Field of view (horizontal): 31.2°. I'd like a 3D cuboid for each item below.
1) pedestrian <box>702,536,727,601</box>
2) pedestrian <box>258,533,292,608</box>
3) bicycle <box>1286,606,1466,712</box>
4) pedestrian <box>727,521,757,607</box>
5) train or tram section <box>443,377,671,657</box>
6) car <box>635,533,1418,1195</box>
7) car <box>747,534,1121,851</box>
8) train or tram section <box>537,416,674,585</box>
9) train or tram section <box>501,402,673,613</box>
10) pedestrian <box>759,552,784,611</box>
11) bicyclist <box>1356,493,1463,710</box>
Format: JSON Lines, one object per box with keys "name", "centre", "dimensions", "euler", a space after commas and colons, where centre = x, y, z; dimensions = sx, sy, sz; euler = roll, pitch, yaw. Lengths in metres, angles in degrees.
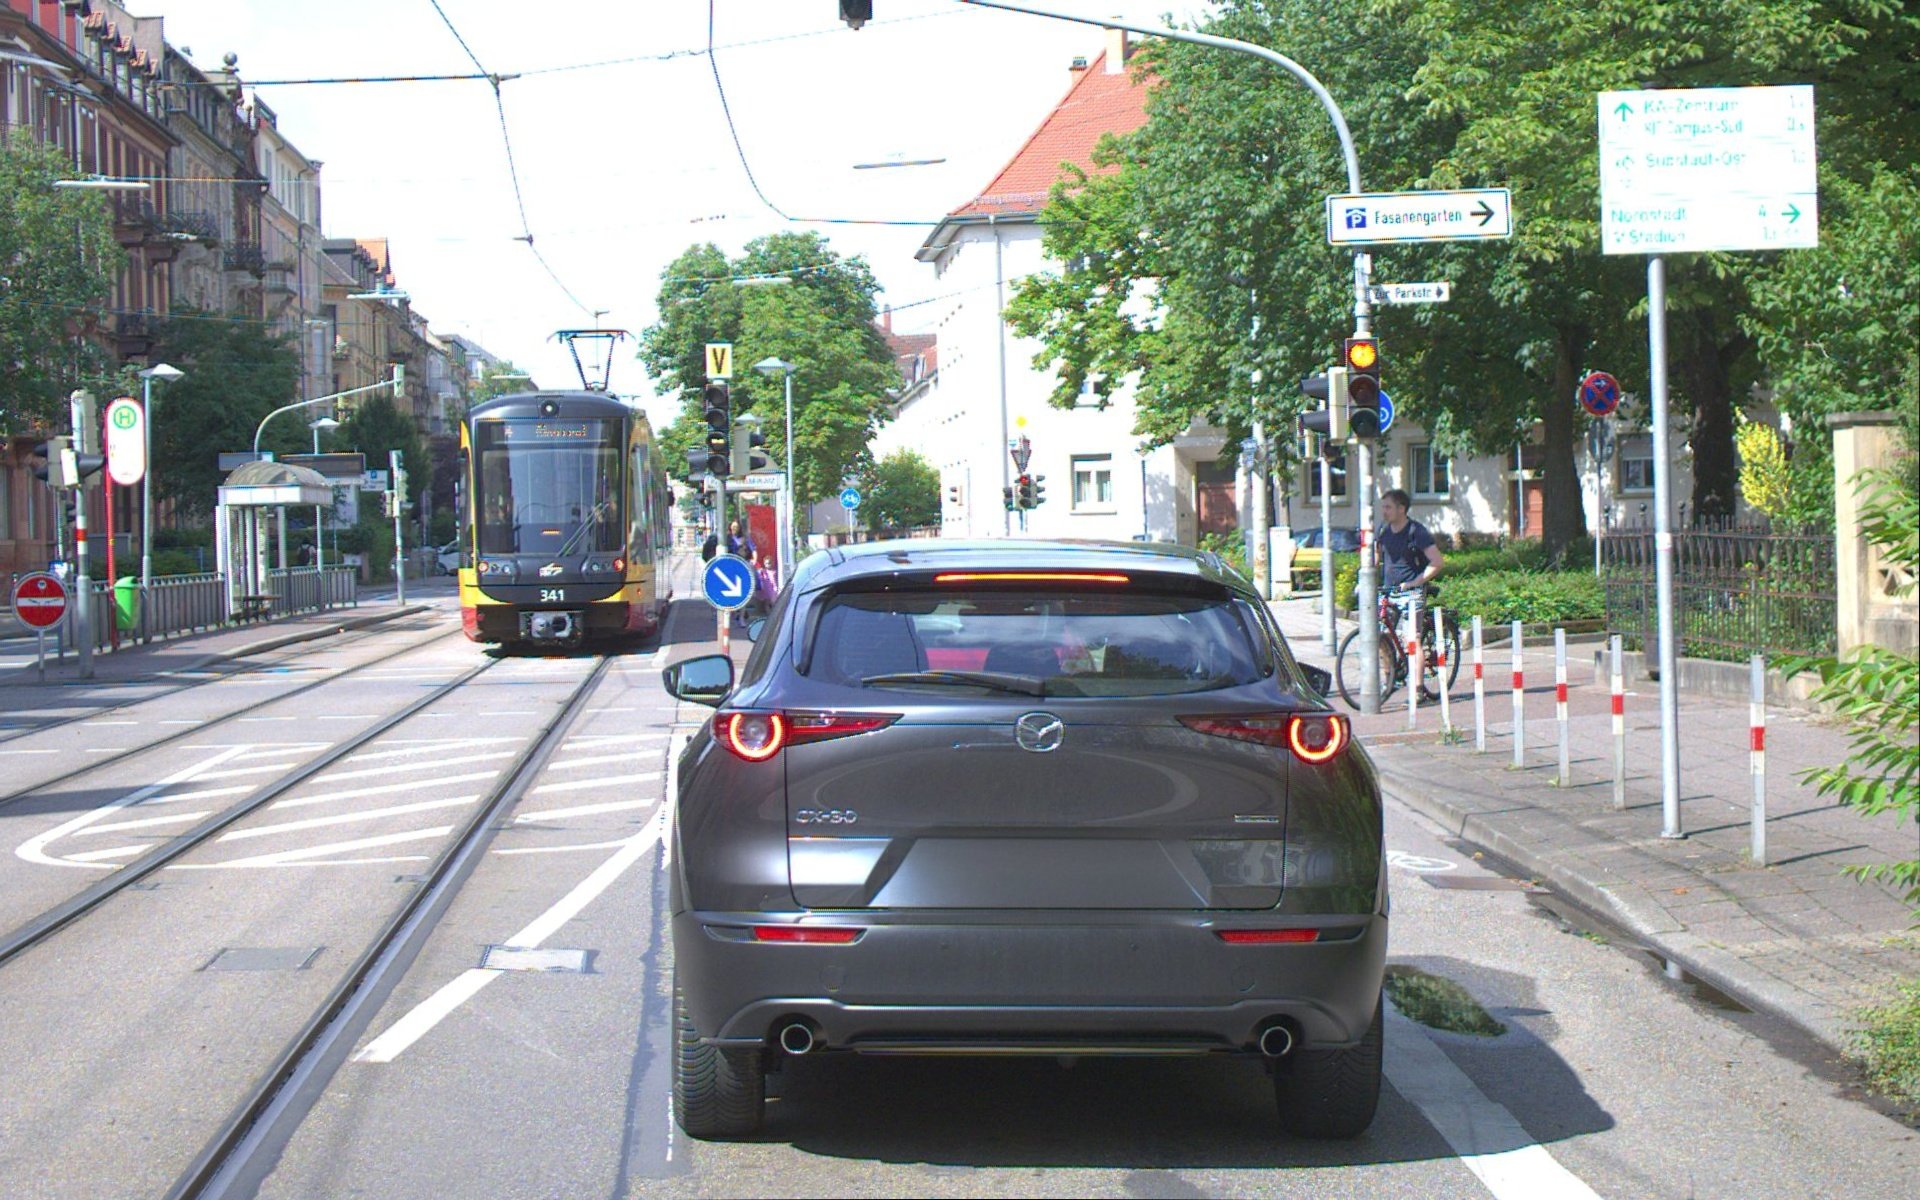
{"name": "pedestrian", "centre": [-4.109, -0.526, 57.549], "dimensions": [0.379, 1.067, 0.474], "euler": [-1, 1, -5]}
{"name": "pedestrian", "centre": [-12.867, -0.558, 64.577], "dimensions": [0.429, 1.394, 0.398], "euler": [-1, 1, 30]}
{"name": "bicycle", "centre": [3.522, 0.485, 29.034], "dimensions": [1.694, 0.821, 0.494], "euler": [-2, 1, -42]}
{"name": "pedestrian", "centre": [-3.646, -0.609, 57.505], "dimensions": [0.450, 1.429, 0.474], "euler": [-1, 1, -5]}
{"name": "train or tram section", "centre": [-5.684, -1.303, 50.584], "dimensions": [2.752, 3.478, 14.411], "euler": [-1, 2, -5]}
{"name": "car", "centre": [0.117, 0.571, 9.903], "dimensions": [1.778, 1.494, 4.000], "euler": [1, 1, -1]}
{"name": "car", "centre": [-0.163, 0.411, 18.555], "dimensions": [1.778, 1.494, 4.000], "euler": [1, 1, -1]}
{"name": "train or tram section", "centre": [-8.025, -2.341, 79.304], "dimensions": [2.752, 3.478, 14.411], "euler": [-1, 2, -5]}
{"name": "train or tram section", "centre": [-6.861, -1.817, 64.935], "dimensions": [2.752, 3.478, 14.411], "euler": [-1, 2, -5]}
{"name": "pedestrian", "centre": [-3.160, -0.310, 57.708], "dimensions": [0.379, 0.981, 0.474], "euler": [-1, 1, -5]}
{"name": "bicyclist", "centre": [3.759, 0.006, 28.769], "dimensions": [0.608, 1.786, 0.658], "euler": [-2, 1, -24]}
